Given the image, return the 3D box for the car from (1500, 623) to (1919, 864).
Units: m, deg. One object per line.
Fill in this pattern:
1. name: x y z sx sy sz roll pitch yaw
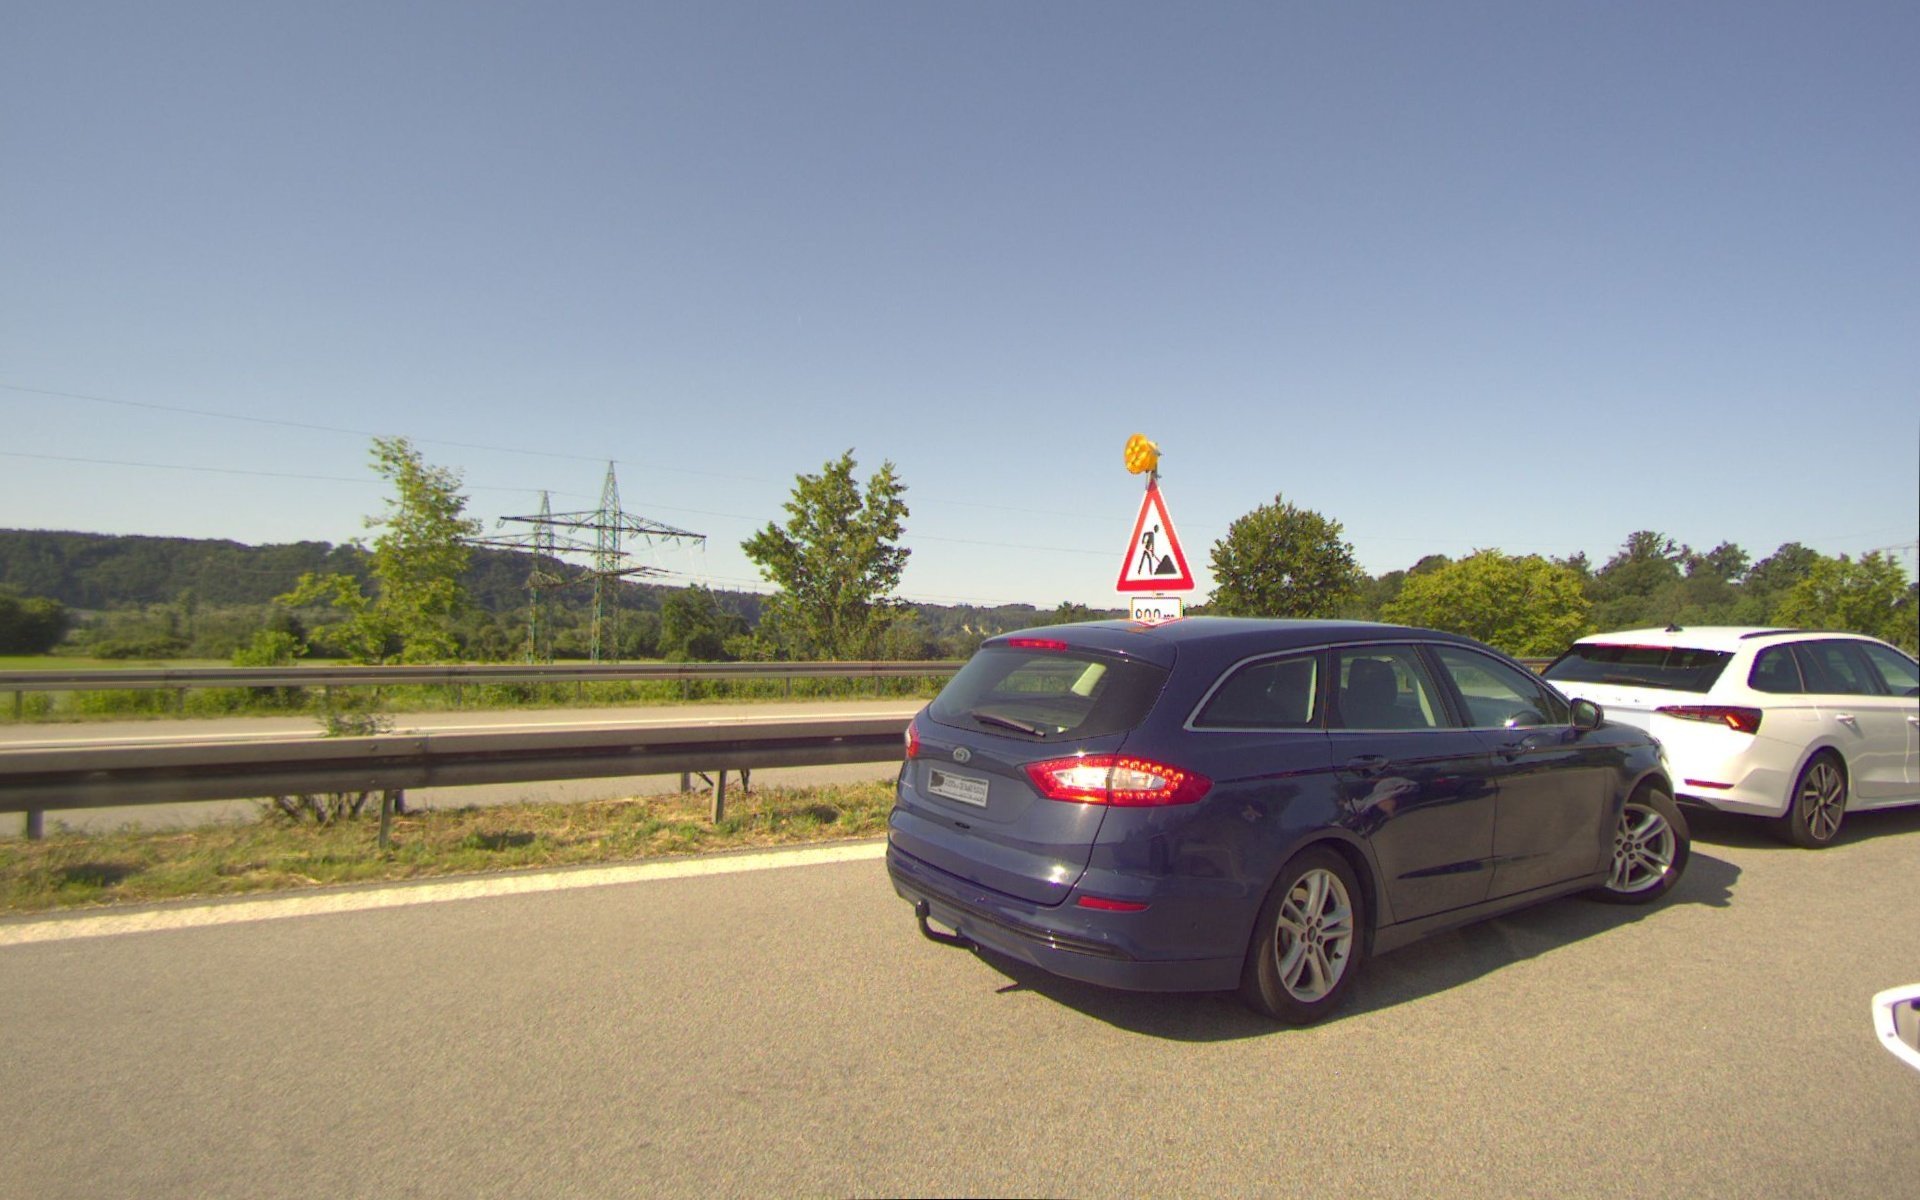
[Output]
1. car: 6.404 0.948 7.910 4.154 1.461 1.689 1 0 -26

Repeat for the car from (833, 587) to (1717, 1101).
1. car: 1.769 0.784 4.953 4.446 1.513 1.777 1 -2 -34
